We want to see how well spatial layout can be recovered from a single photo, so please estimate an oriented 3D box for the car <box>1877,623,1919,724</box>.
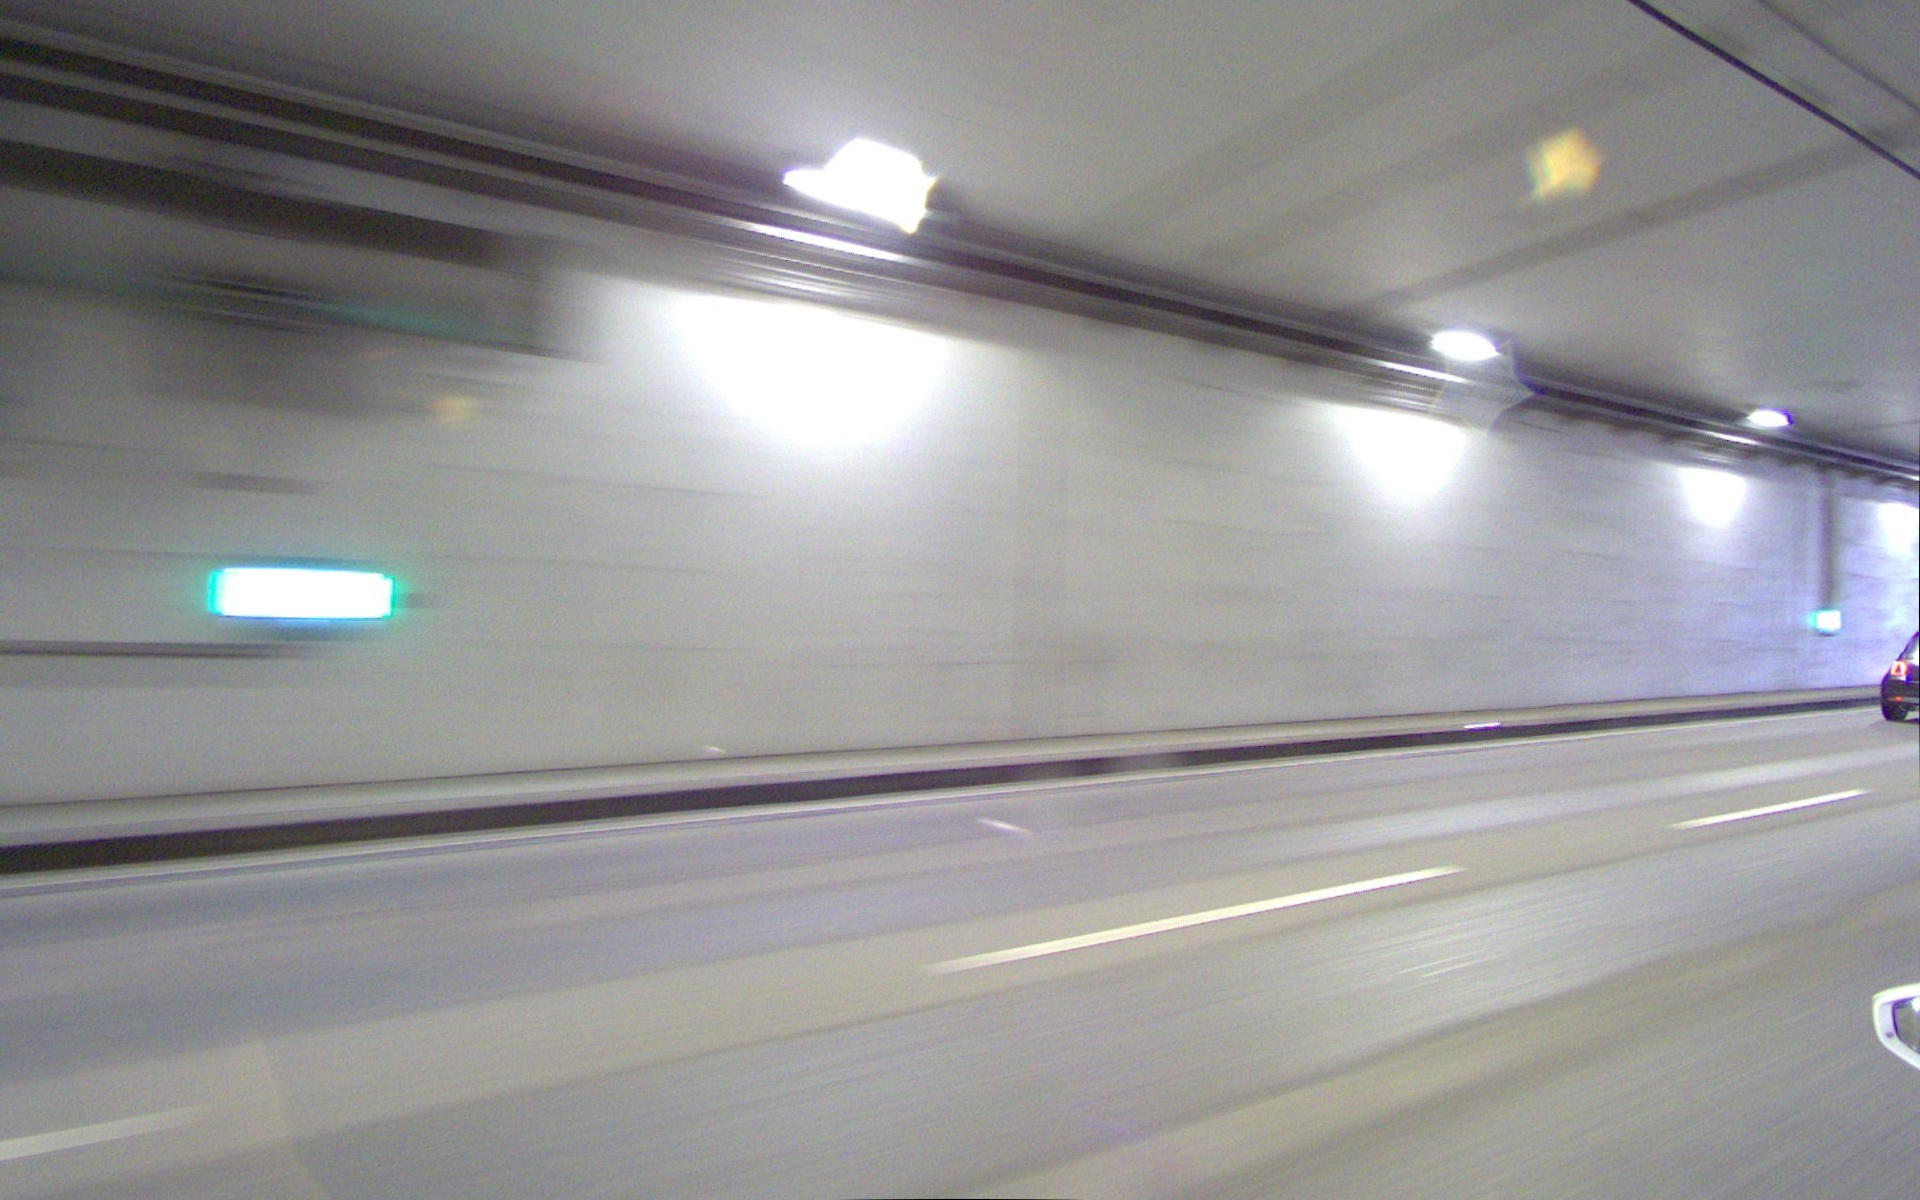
[{"bbox_3d":[15.664,1.086,15.297,3.532,1.473,1.604,1,-1,-32],"label":"car"}]
